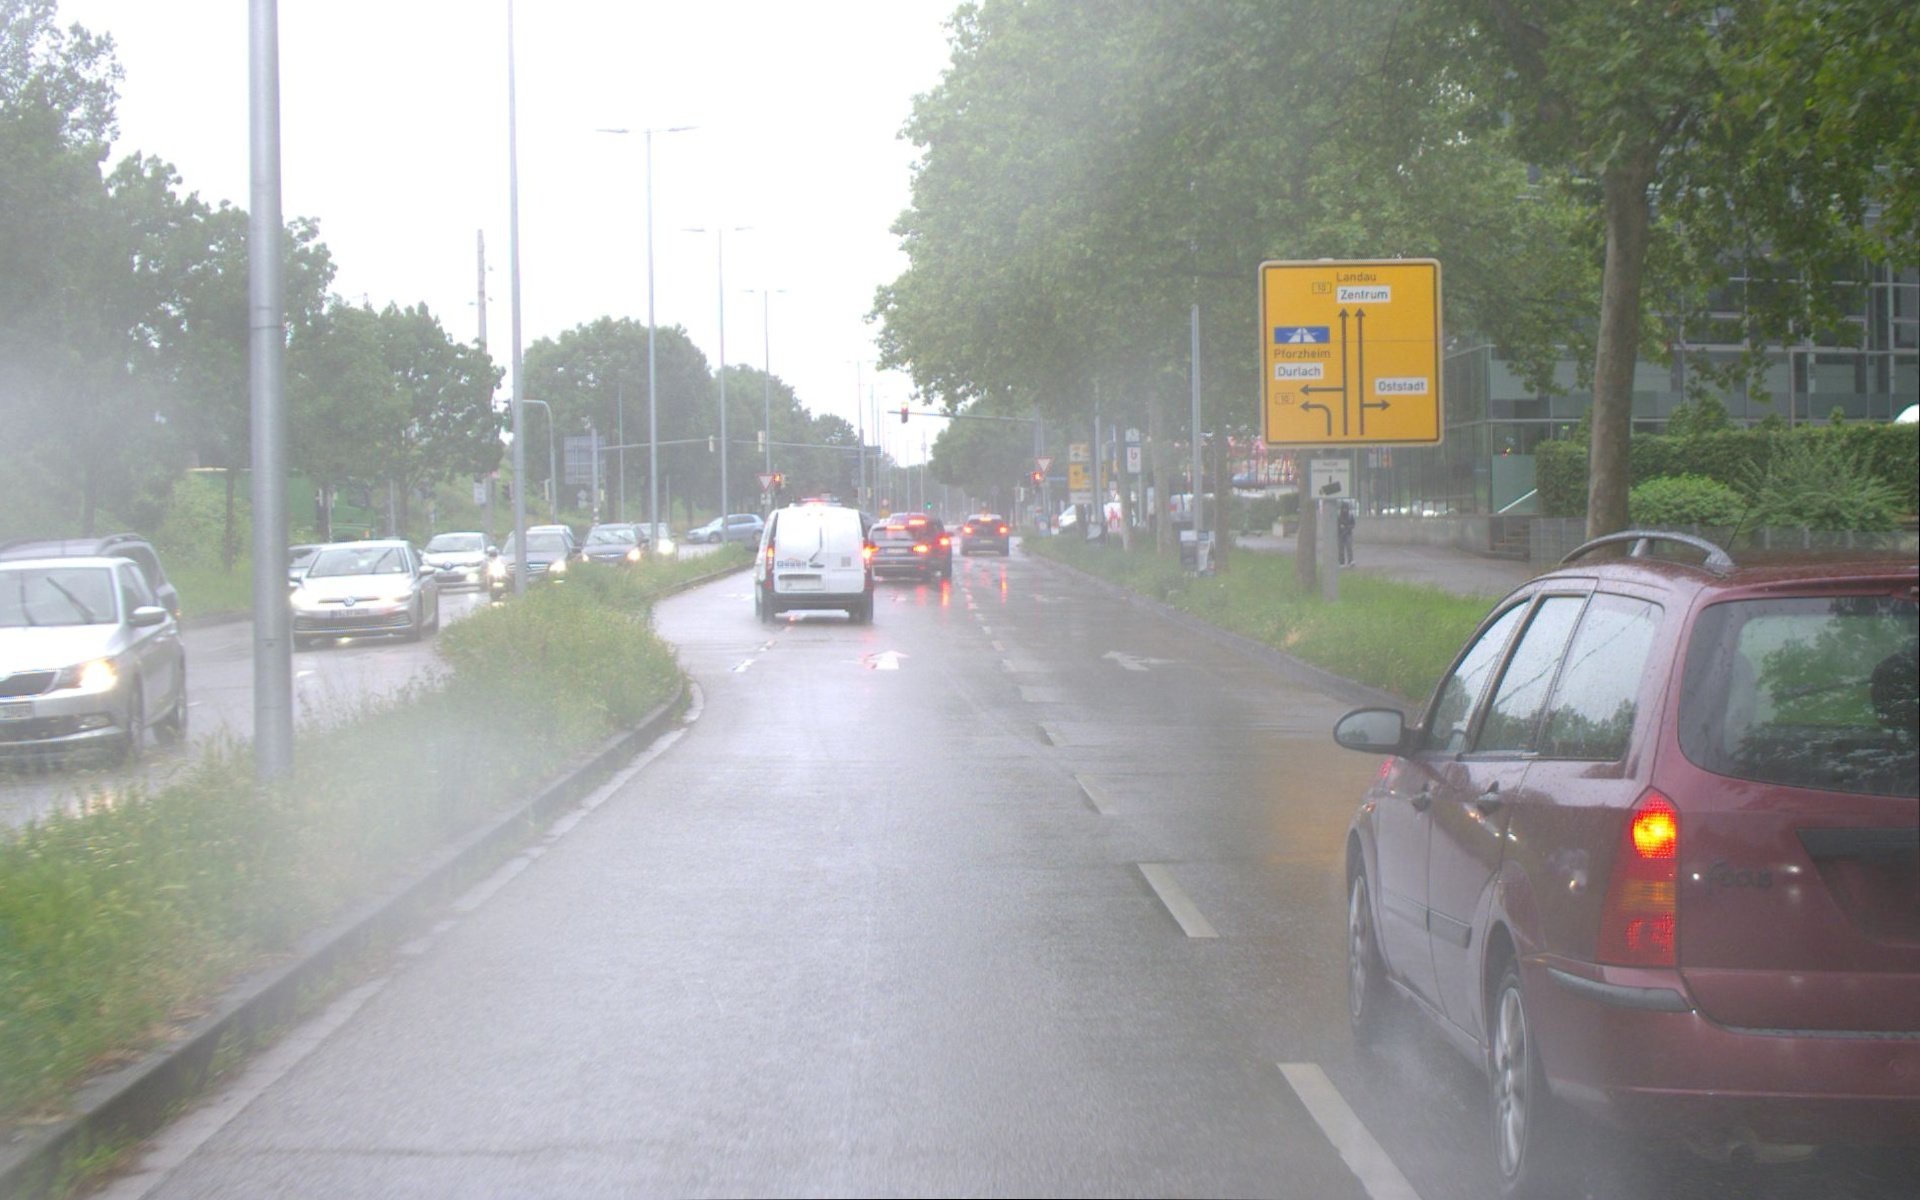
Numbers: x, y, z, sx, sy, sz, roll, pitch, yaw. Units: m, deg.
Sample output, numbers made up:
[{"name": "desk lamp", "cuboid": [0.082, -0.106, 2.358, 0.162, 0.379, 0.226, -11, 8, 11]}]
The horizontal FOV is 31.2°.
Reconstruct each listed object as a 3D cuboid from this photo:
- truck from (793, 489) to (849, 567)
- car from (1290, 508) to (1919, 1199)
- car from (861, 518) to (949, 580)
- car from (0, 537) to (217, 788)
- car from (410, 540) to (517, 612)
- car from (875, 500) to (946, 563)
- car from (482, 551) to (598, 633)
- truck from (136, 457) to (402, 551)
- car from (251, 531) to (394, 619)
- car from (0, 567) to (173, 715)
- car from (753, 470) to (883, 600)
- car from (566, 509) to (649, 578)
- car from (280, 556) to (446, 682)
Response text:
[{"name": "truck", "cuboid": [-4.466, -2.306, 110.399, 1.756, 2.458, 4.001, 0, 1, -2]}, {"name": "car", "cuboid": [2.010, 0.558, 8.660, 1.839, 1.531, 4.112, 0, 1, -2]}, {"name": "car", "cuboid": [-1.340, -1.227, 82.330, 1.993, 1.447, 4.001, 0, 1, -2]}, {"name": "car", "cuboid": [-6.627, 0.412, 24.698, 1.898, 1.607, 4.112, -4, 1, -5]}, {"name": "car", "cuboid": [-12.313, -0.624, 85.480, 1.908, 1.569, 4.709, -4, 1, 0]}, {"name": "car", "cuboid": [-1.297, -1.778, 88.542, 1.708, 1.544, 4.001, 0, 2, -2]}, {"name": "car", "cuboid": [-9.136, -0.211, 75.167, 1.908, 1.569, 4.709, -4, 1, 0]}, {"name": "truck", "cuboid": [-27.170, -3.735, 135.539, 10.110, 3.440, 2.658, 0, 0, -37]}, {"name": "car", "cuboid": [-11.932, -0.504, 64.623, 1.835, 1.497, 4.440, -2, 1, 0]}, {"name": "car", "cuboid": [-11.659, 0.489, 44.134, 1.993, 1.682, 4.709, -2, 1, 0]}, {"name": "car", "cuboid": [-2.261, -1.000, 54.972, 1.993, 2.007, 4.000, 0, 0, -2]}, {"name": "car", "cuboid": [-9.533, -1.553, 93.253, 1.824, 1.569, 4.361, 2, 4, -1]}, {"name": "car", "cuboid": [-8.436, 0.226, 48.893, 1.908, 1.569, 4.710, -3, 1, -6]}]
